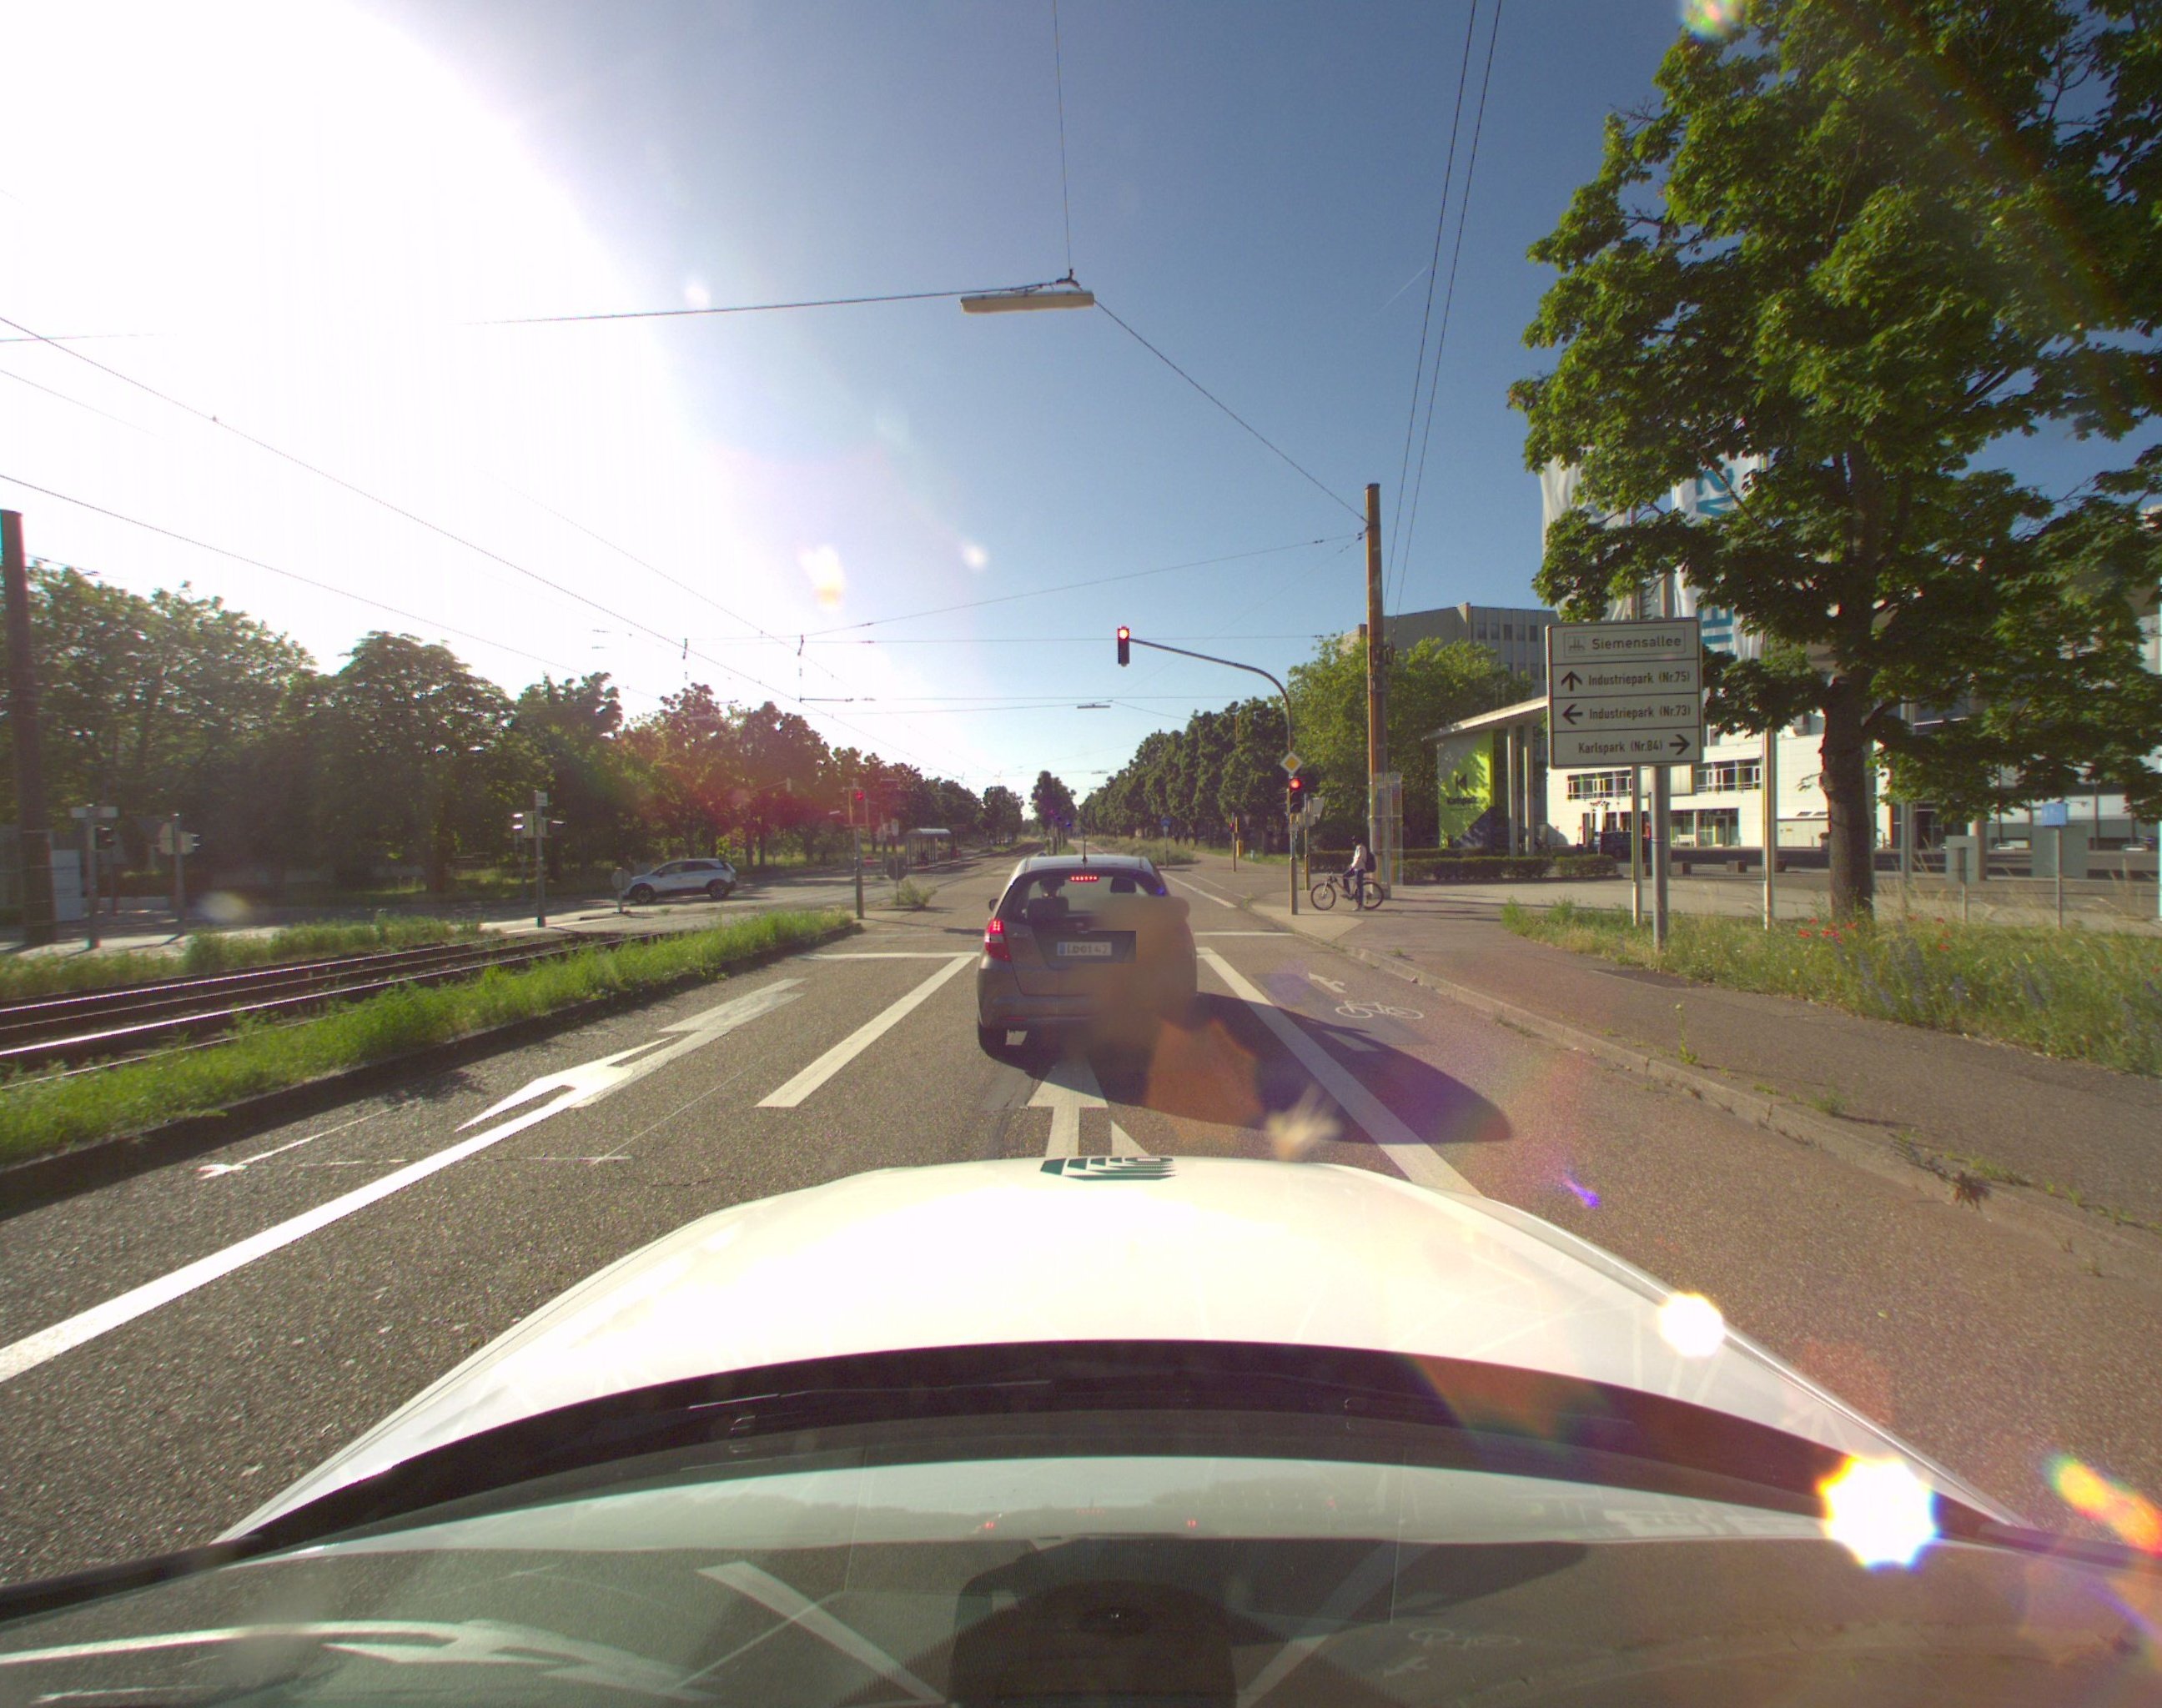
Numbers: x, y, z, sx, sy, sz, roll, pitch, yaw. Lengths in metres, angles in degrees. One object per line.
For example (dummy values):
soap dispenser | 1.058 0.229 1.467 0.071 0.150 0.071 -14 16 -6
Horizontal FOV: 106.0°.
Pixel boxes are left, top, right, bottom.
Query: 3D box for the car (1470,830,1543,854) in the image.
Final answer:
car | 31.205 -0.843 59.735 4.538 1.629 1.869 -1 0 -11

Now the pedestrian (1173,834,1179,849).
pedestrian | 9.834 -1.267 84.122 0.565 1.596 0.665 0 0 -2

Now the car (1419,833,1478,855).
car | 30.100 -0.821 66.803 3.989 1.757 1.993 -1 0 -11

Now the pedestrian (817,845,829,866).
pedestrian | -24.413 0.140 77.028 0.837 2.013 0.863 -1 0 0

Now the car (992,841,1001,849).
car | -19.794 -2.175 191.563 1.761 1.738 3.999 -1 0 0

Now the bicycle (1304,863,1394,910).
bicycle | 6.367 0.765 19.440 1.907 0.998 0.767 -3 -1 12

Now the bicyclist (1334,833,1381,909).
bicyclist | 6.558 0.399 19.383 0.904 1.745 0.767 -3 -1 12

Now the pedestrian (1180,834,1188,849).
pedestrian | 10.650 -1.296 84.131 0.676 1.610 0.720 0 0 -1

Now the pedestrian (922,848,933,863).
pedestrian | -12.469 0.112 66.144 0.718 1.246 0.710 -2 0 0

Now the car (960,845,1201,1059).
car | 0.083 0.687 7.778 1.700 1.509 4.003 -1 0 2

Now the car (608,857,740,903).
car | -15.543 0.963 31.353 4.250 1.606 1.846 -1 0 -17

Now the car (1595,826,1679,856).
car | 33.728 -0.783 49.477 3.984 1.720 1.895 -1 0 -8

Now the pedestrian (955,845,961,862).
pedestrian | -12.210 -0.025 80.692 0.502 1.675 0.386 -1 0 -10
